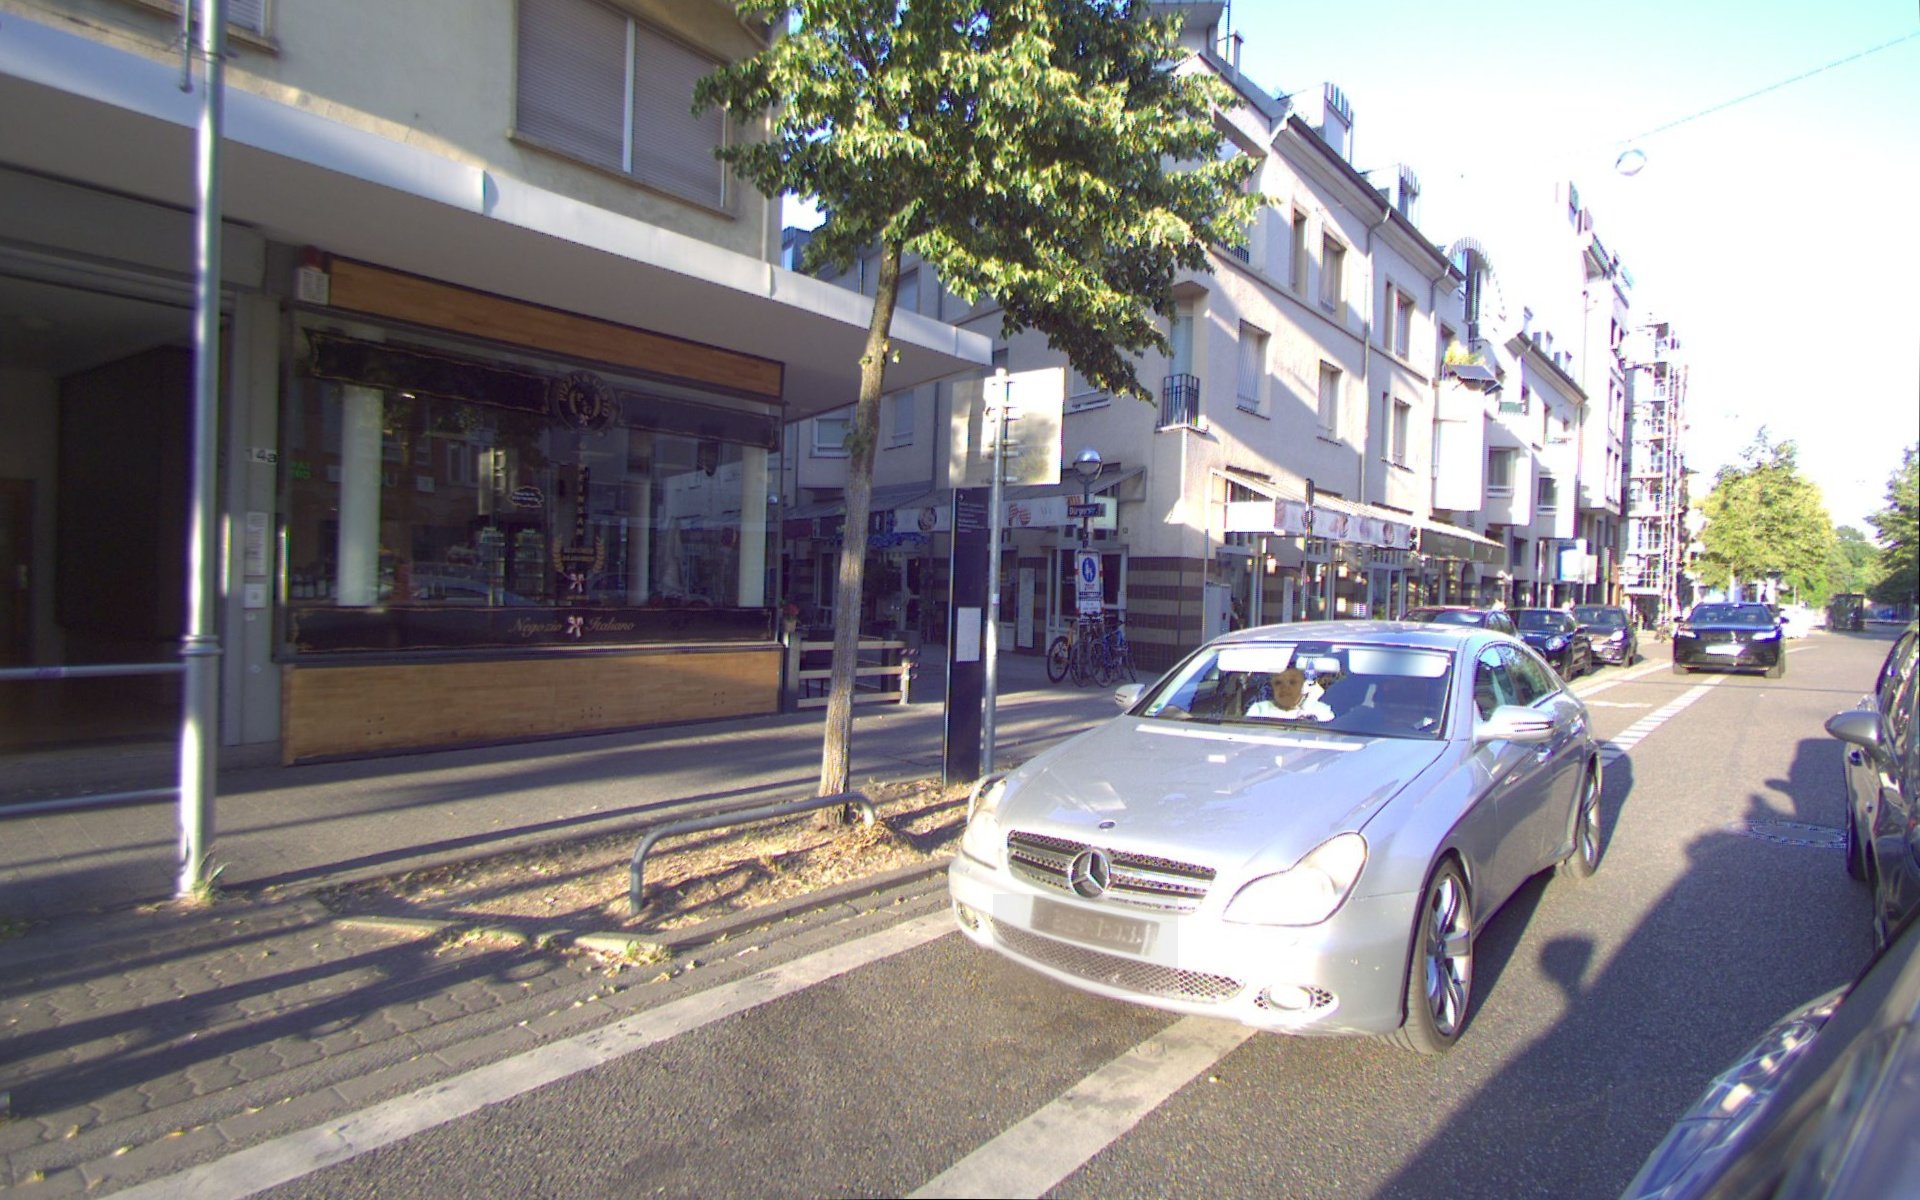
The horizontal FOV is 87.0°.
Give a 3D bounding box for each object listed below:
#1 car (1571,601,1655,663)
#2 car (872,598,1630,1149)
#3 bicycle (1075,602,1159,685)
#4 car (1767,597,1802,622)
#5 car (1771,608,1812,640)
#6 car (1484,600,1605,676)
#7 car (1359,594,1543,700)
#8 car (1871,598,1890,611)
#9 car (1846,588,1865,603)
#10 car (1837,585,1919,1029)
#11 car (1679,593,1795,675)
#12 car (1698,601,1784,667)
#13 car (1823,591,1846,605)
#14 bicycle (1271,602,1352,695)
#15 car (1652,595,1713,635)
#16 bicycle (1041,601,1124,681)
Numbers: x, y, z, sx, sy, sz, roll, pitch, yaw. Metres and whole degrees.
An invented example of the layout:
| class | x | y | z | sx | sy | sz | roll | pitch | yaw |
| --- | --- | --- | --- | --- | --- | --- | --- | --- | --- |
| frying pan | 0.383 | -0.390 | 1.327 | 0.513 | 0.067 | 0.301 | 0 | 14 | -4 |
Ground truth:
| class | x | y | z | sx | sy | sz | roll | pitch | yaw |
| --- | --- | --- | --- | --- | --- | --- | --- | --- | --- |
| car | 16.912 | 0.786 | 26.159 | 1.426 | 1.469 | 3.331 | 1 | 1 | 40 |
| car | 1.814 | 0.696 | 4.891 | 1.784 | 1.386 | 4.504 | 0 | 0 | 41 |
| bicycle | 2.412 | 0.624 | 15.377 | 0.330 | 1.144 | 1.986 | 3 | 2 | 37 |
| car | 57.845 | 0.633 | 71.003 | 1.760 | 1.652 | 3.814 | 3 | 2 | 41 |
| car | 46.659 | 1.328 | 56.768 | 1.686 | 1.675 | 3.679 | 0 | 0 | 41 |
| car | 12.175 | 0.717 | 20.972 | 1.608 | 1.412 | 3.642 | 0 | 0 | 39 |
| car | 7.761 | 0.654 | 15.818 | 1.647 | 1.446 | 3.940 | 0 | 0 | 41 |
| car | 133.836 | 0.592 | 147.096 | 3.525 | 1.829 | 1.842 | -1 | 0 | -44 |
| car | 106.500 | -0.533 | 120.391 | 1.667 | 1.660 | 3.207 | 0 | 0 | 42 |
| car | 4.879 | 0.698 | 4.245 | 1.580 | 1.471 | 3.790 | 1 | 1 | 38 |
| car | 17.629 | 0.689 | 22.909 | 1.889 | 1.663 | 3.694 | 1 | 1 | 41 |
| car | 20.436 | 0.820 | 26.440 | 1.684 | 1.562 | 3.679 | 0 | 0 | 39 |
| car | 95.428 | -0.236 | 110.469 | 3.173 | 1.490 | 1.612 | -1 | 0 | -44 |
| bicycle | 5.175 | 0.674 | 14.839 | 0.503 | 1.253 | 1.687 | 3 | 2 | 40 |
| car | 31.497 | 0.624 | 44.087 | 1.760 | 1.591 | 3.814 | 3 | 2 | 41 |
| bicycle | 1.933 | 0.603 | 15.757 | 0.330 | 1.144 | 1.986 | 1 | 1 | 37 |
